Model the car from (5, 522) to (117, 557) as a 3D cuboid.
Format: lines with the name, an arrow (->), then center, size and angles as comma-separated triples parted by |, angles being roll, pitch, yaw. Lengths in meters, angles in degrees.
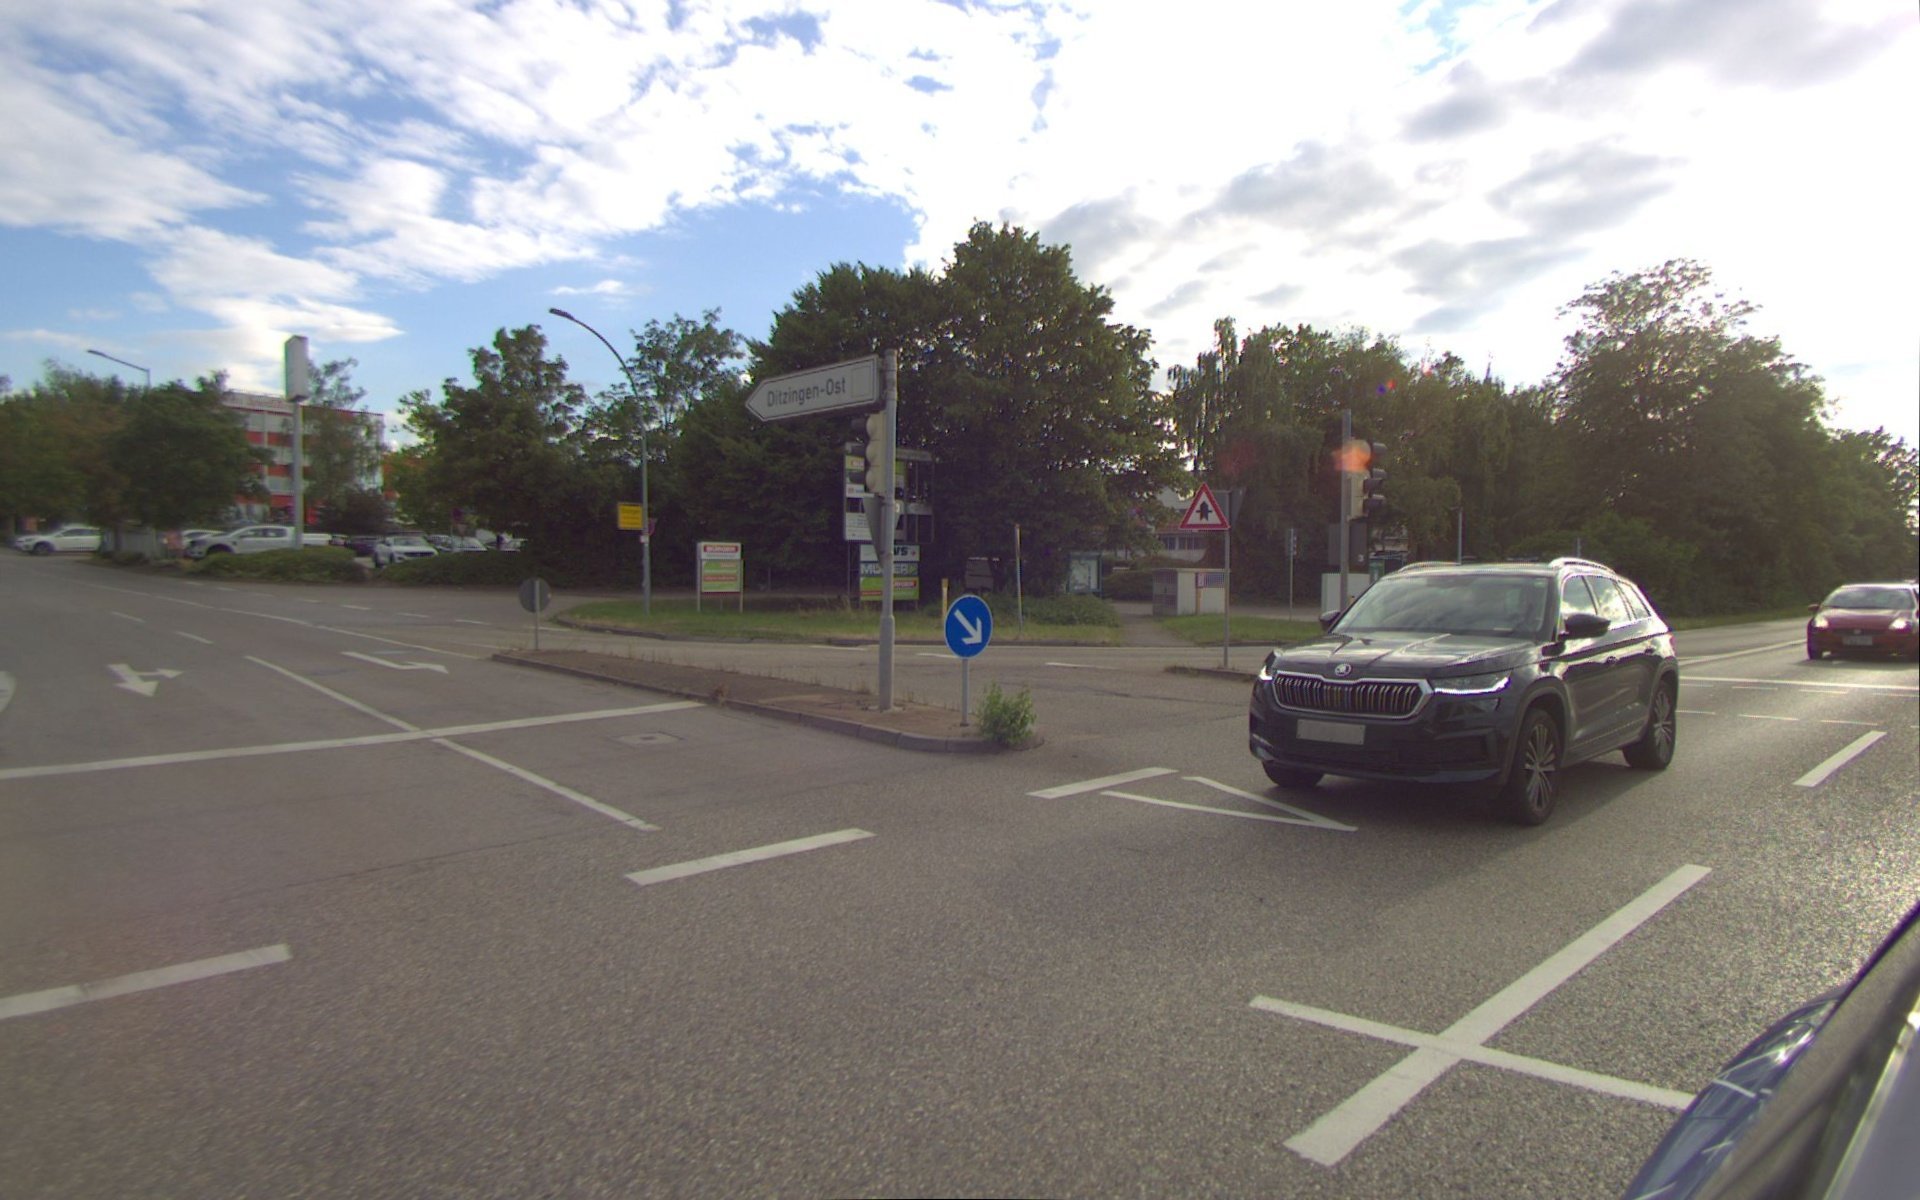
car -> -47.748, -3.205, 53.803 | 1.993, 1.800, 4.265 | 3, 4, 41

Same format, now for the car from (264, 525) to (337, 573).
car -> -28.502, -2.215, 43.670 | 1.928, 1.906, 4.298 | -1, 5, -43

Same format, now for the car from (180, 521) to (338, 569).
car -> -31.507, -2.479, 45.651 | 1.993, 2.038, 5.532 | 3, 4, 41

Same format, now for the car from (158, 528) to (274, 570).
car -> -36.030, -2.434, 49.086 | 1.954, 1.906, 4.241 | 5, 4, 42

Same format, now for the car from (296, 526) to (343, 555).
car -> -43.533, -4.041, 68.798 | 1.928, 1.847, 4.298 | -1, 5, -43

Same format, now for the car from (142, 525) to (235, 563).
car -> -45.040, -3.247, 59.148 | 1.989, 2.039, 3.947 | -1, 1, 37

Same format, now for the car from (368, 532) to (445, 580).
car -> -24.200, -1.934, 44.189 | 1.928, 1.906, 4.298 | -1, 5, -43

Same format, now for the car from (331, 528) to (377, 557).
car -> -42.453, -4.017, 70.858 | 1.928, 1.847, 4.298 | -1, 5, -43

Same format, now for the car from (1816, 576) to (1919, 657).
car -> 18.305, 0.268, 19.972 | 3.926, 1.450, 1.665 | -1, 1, -42

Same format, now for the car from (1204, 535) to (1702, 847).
car -> 3.893, 0.459, 7.589 | 4.404, 1.671, 1.847 | -1, 0, -42

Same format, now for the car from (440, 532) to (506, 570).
car -> -25.692, -2.594, 53.282 | 1.928, 1.847, 4.298 | -1, 5, -43

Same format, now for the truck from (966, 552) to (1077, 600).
truck -> 2.684, -1.032, 44.078 | 4.600, 2.022, 1.816 | 0, 0, 14

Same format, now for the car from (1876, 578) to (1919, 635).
car -> 25.701, 0.127, 26.870 | 3.932, 1.433, 1.698 | -1, 1, -42

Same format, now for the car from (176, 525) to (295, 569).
car -> -33.732, -2.459, 47.186 | 1.954, 1.906, 4.241 | 5, 4, 42

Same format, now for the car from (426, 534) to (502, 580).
car -> -22.518, -1.983, 45.848 | 1.928, 1.874, 4.298 | -1, 5, -43
